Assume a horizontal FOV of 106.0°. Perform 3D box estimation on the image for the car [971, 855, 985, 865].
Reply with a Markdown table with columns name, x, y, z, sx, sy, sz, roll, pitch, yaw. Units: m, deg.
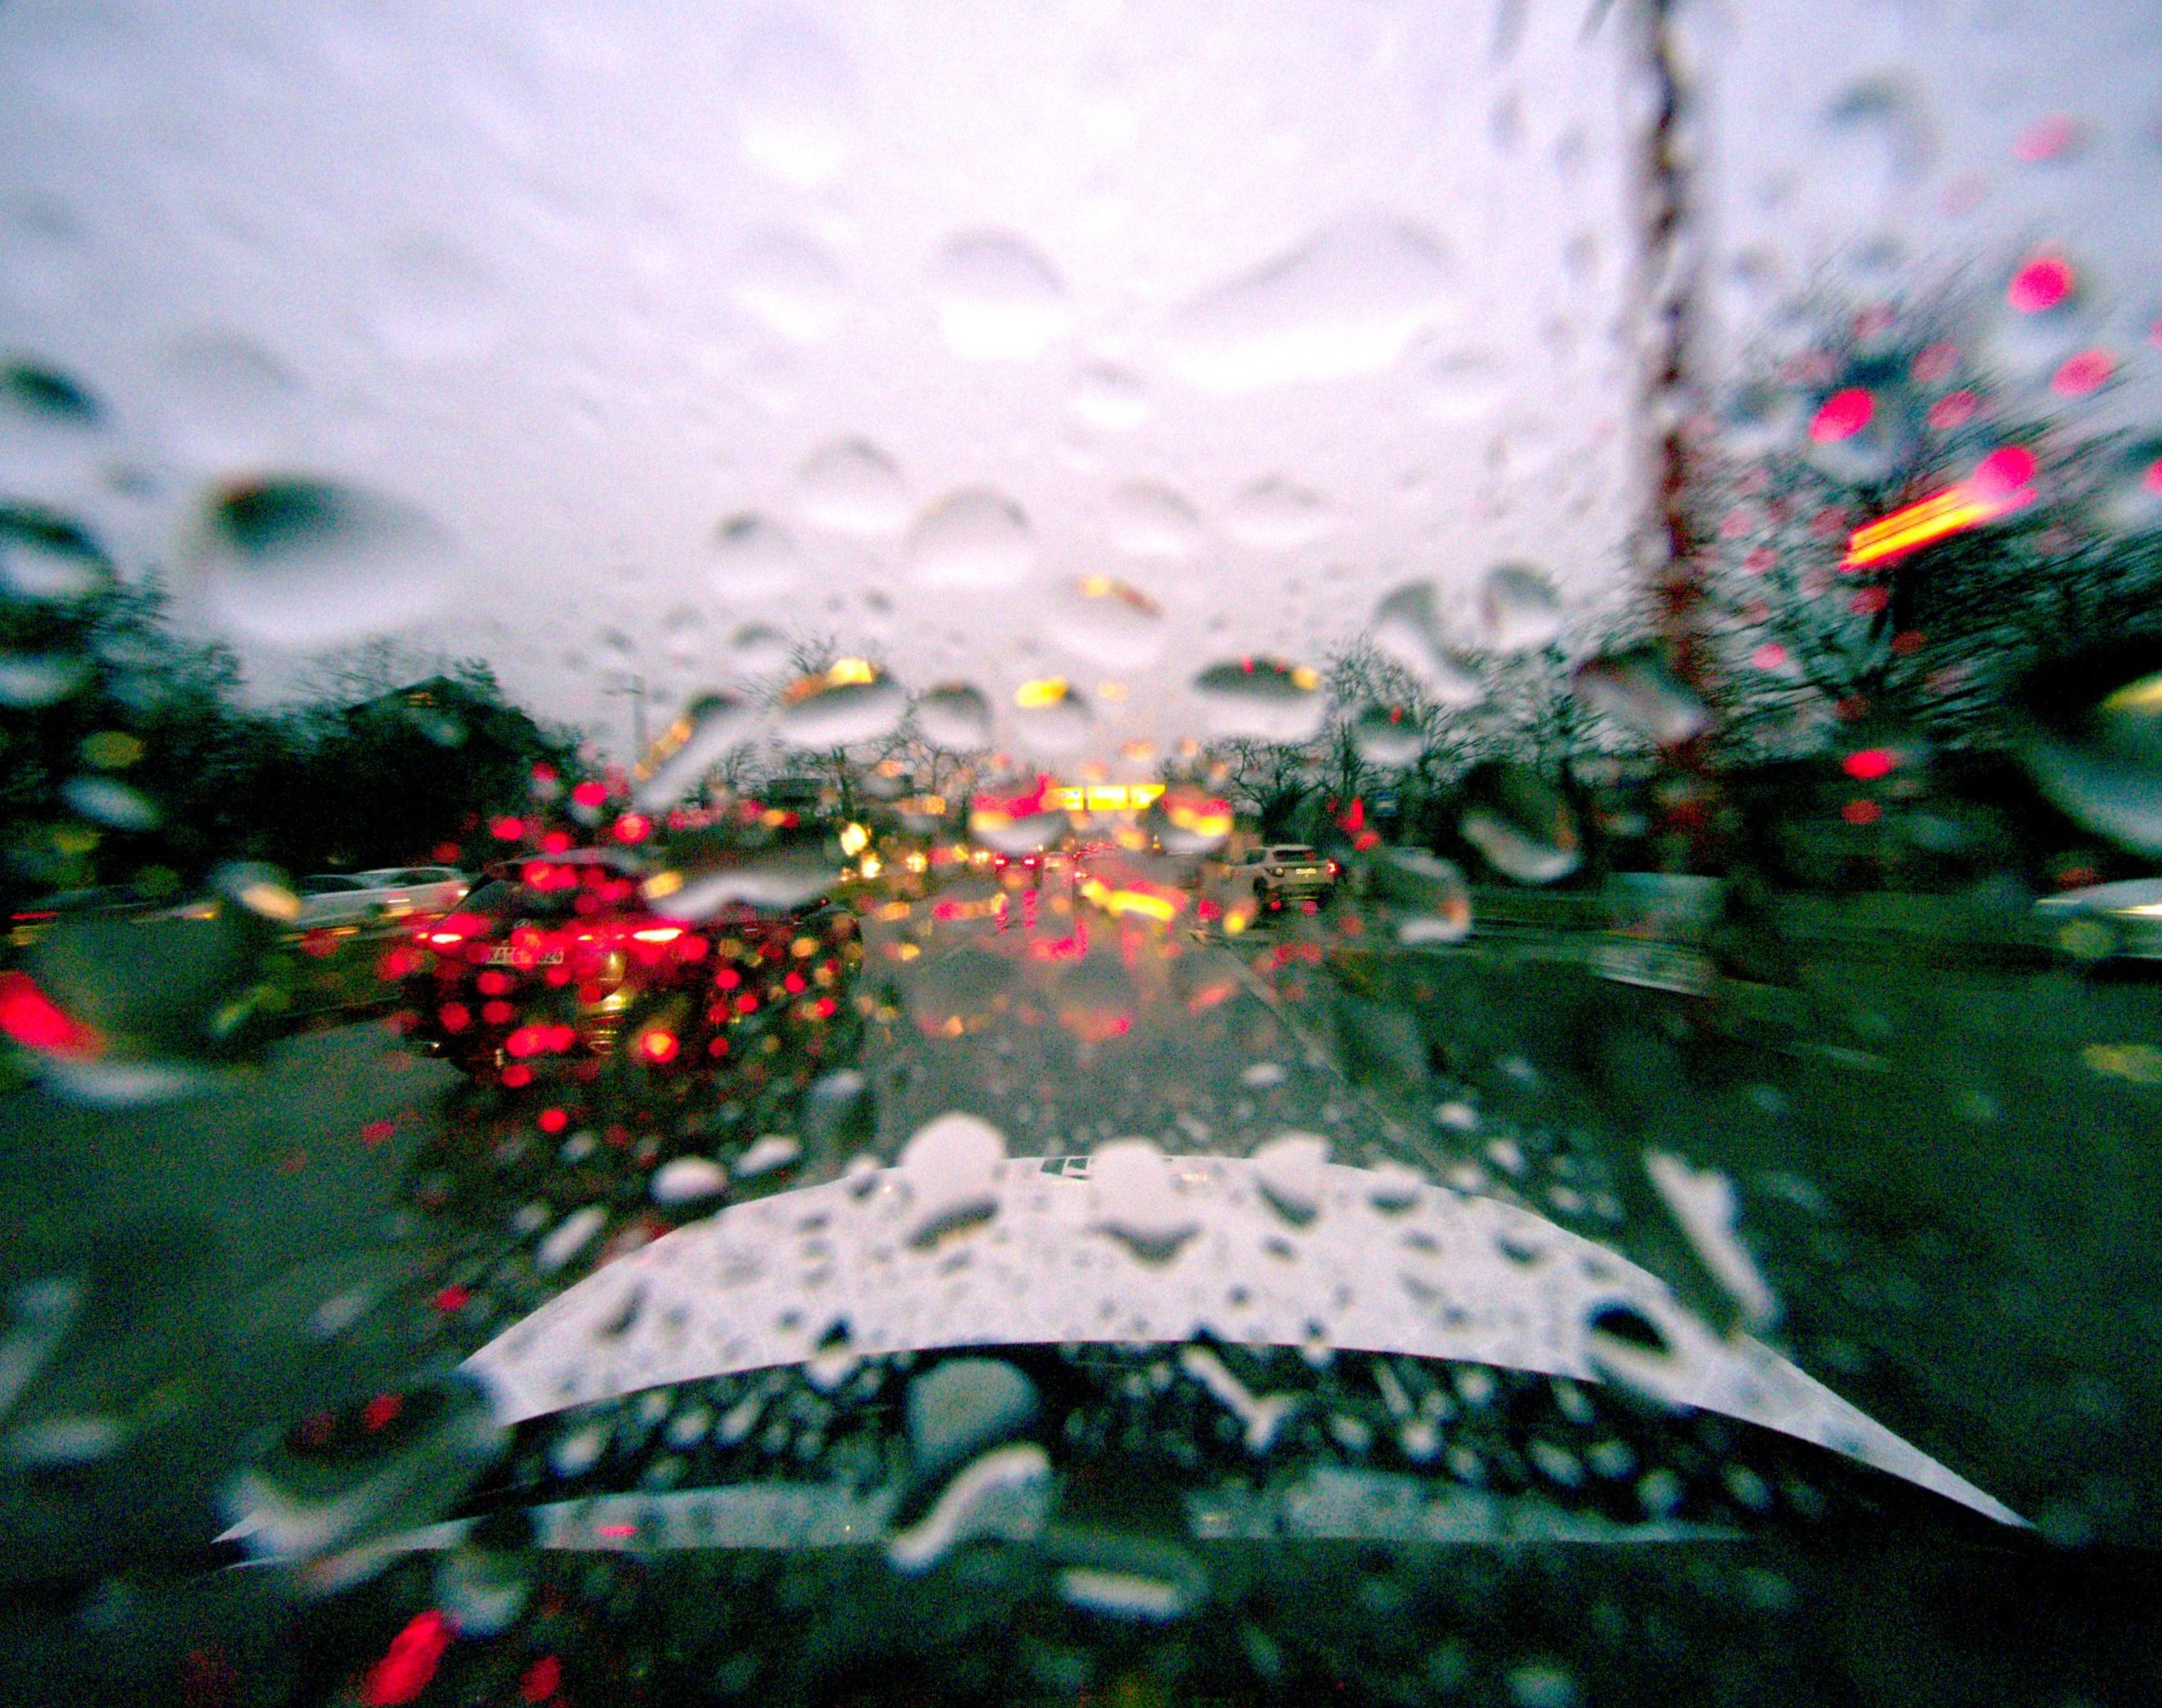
| name | x | y | z | sx | sy | sz | roll | pitch | yaw |
| --- | --- | --- | --- | --- | --- | --- | --- | --- | --- |
| car | -16.903 | 0.943 | 134.045 | 1.779 | 1.627 | 3.575 | -1 | 0 | 1 |

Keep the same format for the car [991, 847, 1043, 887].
| name | x | y | z | sx | sy | sz | roll | pitch | yaw |
| --- | --- | --- | --- | --- | --- | --- | --- | --- | --- |
| car | -2.809 | 0.541 | 36.642 | 1.815 | 1.648 | 4.003 | -2 | 0 | 3 |

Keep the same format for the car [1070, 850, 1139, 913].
| name | x | y | z | sx | sy | sz | roll | pitch | yaw |
| --- | --- | --- | --- | --- | --- | --- | --- | --- | --- |
| car | 0.734 | 0.738 | 23.680 | 1.815 | 1.648 | 4.469 | 0 | -1 | 3 |

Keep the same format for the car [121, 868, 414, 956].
| name | x | y | z | sx | sy | sz | roll | pitch | yaw |
| --- | --- | --- | --- | --- | --- | --- | --- | --- | --- |
| car | -17.466 | 1.154 | 17.891 | 1.763 | 1.533 | 4.527 | -2 | 0 | 1 |

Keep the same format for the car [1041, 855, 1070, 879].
| name | x | y | z | sx | sy | sz | roll | pitch | yaw |
| --- | --- | --- | --- | --- | --- | --- | --- | --- | --- |
| car | -1.891 | 0.949 | 60.714 | 1.815 | 1.648 | 4.003 | -2 | 0 | 3 |

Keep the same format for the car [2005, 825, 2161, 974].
| name | x | y | z | sx | sy | sz | roll | pitch | yaw |
| --- | --- | --- | --- | --- | --- | --- | --- | --- | --- |
| car | 12.309 | 0.354 | 7.466 | 4.696 | 1.376 | 1.894 | -2 | 0 | 25 |

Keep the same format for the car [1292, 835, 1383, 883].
| name | x | y | z | sx | sy | sz | roll | pitch | yaw |
| --- | --- | --- | --- | --- | --- | --- | --- | --- | --- |
| car | 9.813 | 0.170 | 31.527 | 1.961 | 1.619 | 4.546 | -3 | 0 | -1 |

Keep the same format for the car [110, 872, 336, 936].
| name | x | y | z | sx | sy | sz | roll | pitch | yaw |
| --- | --- | --- | --- | --- | --- | --- | --- | --- | --- |
| car | -24.703 | 1.366 | 23.729 | 1.763 | 1.495 | 4.441 | -2 | 0 | 1 |

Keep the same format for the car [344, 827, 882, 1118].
| name | x | y | z | sx | sy | sz | roll | pitch | yaw |
| --- | --- | --- | --- | --- | --- | --- | --- | --- | --- |
| car | -3.279 | 0.695 | 6.969 | 1.815 | 1.648 | 4.469 | -2 | 0 | 3 |

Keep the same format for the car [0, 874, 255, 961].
| name | x | y | z | sx | sy | sz | roll | pitch | yaw |
| --- | --- | --- | --- | --- | --- | --- | --- | --- | --- |
| car | -20.942 | 1.266 | 17.474 | 1.763 | 1.495 | 4.441 | -2 | 0 | 1 |

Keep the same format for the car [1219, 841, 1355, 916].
| name | x | y | z | sx | sy | sz | roll | pitch | yaw |
| --- | --- | --- | --- | --- | --- | --- | --- | --- | --- |
| car | 4.972 | 0.549 | 20.369 | 1.814 | 1.618 | 4.400 | -2 | 0 | -7 |

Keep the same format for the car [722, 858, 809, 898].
| name | x | y | z | sx | sy | sz | roll | pitch | yaw |
| --- | --- | --- | --- | --- | --- | --- | --- | --- | --- |
| car | -13.616 | 0.982 | 35.458 | 1.763 | 1.536 | 4.842 | -2 | 0 | 1 |

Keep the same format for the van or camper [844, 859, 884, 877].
| name | x | y | z | sx | sy | sz | roll | pitch | yaw |
| --- | --- | --- | --- | --- | --- | --- | --- | --- | --- |
| van or camper | -18.971 | 1.209 | 71.502 | 1.897 | 1.446 | 5.161 | -1 | 0 | 2 |

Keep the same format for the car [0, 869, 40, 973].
| name | x | y | z | sx | sy | sz | roll | pitch | yaw |
| --- | --- | --- | --- | --- | --- | --- | --- | --- | --- |
| car | -17.806 | 1.086 | 11.008 | 1.850 | 1.598 | 4.289 | -2 | 0 | 1 |

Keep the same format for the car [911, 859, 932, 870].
| name | x | y | z | sx | sy | sz | roll | pitch | yaw |
| --- | --- | --- | --- | --- | --- | --- | --- | --- | --- |
| car | -22.653 | 1.541 | 115.835 | 1.985 | 1.477 | 4.076 | -1 | 0 | 3 |

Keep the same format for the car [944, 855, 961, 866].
| name | x | y | z | sx | sy | sz | roll | pitch | yaw |
| --- | --- | --- | --- | --- | --- | --- | --- | --- | --- |
| car | -22.432 | 1.037 | 141.872 | 1.985 | 1.851 | 4.430 | -1 | 0 | 3 |

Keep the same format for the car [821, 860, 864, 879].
| name | x | y | z | sx | sy | sz | roll | pitch | yaw |
| --- | --- | --- | --- | --- | --- | --- | --- | --- | --- |
| car | -18.779 | 1.201 | 64.208 | 1.897 | 1.446 | 4.444 | -1 | 0 | 2 |

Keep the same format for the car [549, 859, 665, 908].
| name | x | y | z | sx | sy | sz | roll | pitch | yaw |
| --- | --- | --- | --- | --- | --- | --- | --- | --- | --- |
| car | -17.236 | 1.010 | 29.847 | 1.763 | 1.586 | 4.034 | -2 | 0 | 1 |

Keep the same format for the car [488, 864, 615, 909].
| name | x | y | z | sx | sy | sz | roll | pitch | yaw |
| --- | --- | --- | --- | --- | --- | --- | --- | --- | --- |
| car | -20.518 | 1.192 | 31.833 | 1.763 | 1.489 | 4.651 | -2 | 0 | 1 |

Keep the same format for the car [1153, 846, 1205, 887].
| name | x | y | z | sx | sy | sz | roll | pitch | yaw |
| --- | --- | --- | --- | --- | --- | --- | --- | --- | --- |
| car | 4.174 | 0.523 | 35.378 | 1.925 | 1.648 | 4.469 | 0 | -1 | 3 |

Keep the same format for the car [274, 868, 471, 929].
| name | x | y | z | sx | sy | sz | roll | pitch | yaw |
| --- | --- | --- | --- | --- | --- | --- | --- | --- | --- |
| car | -20.587 | 1.227 | 23.971 | 1.763 | 1.495 | 4.441 | -2 | 0 | 1 |

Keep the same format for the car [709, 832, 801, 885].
| name | x | y | z | sx | sy | sz | roll | pitch | yaw |
| --- | --- | --- | --- | --- | --- | --- | --- | --- | --- |
| car | -19.643 | 0.291 | 49.603 | 2.282 | 3.005 | 7.353 | 0 | -1 | 3 |
